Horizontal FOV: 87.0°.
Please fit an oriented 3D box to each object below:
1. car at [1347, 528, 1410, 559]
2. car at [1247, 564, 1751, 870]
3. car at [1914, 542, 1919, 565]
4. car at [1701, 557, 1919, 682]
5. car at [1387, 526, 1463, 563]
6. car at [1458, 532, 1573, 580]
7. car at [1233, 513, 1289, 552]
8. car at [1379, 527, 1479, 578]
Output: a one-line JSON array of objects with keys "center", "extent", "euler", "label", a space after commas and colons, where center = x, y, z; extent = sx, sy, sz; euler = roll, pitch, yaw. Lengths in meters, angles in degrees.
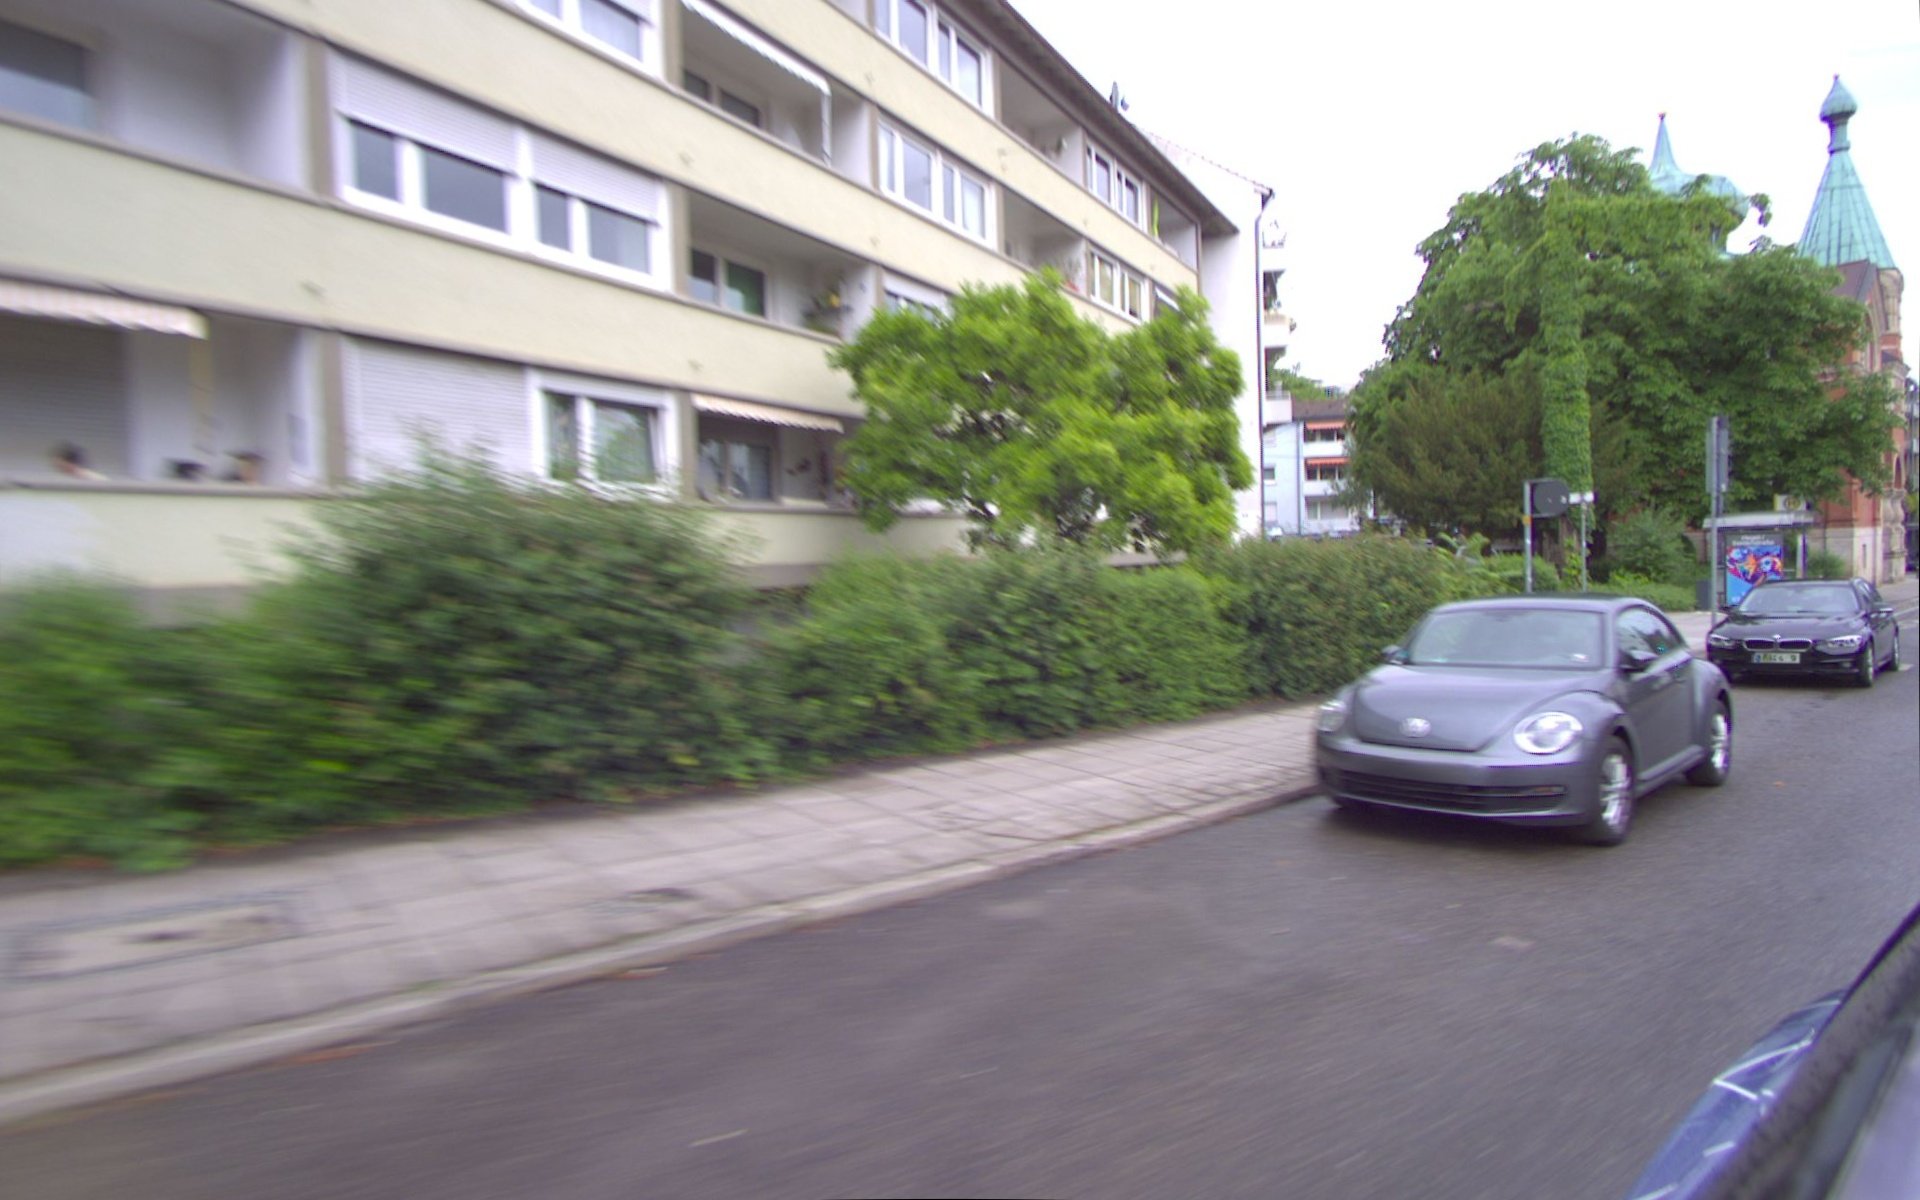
[{"center": [21.610, -2.877, 52.397], "extent": [1.711, 1.462, 3.836], "euler": [-2, 2, 2], "label": "car"}, {"center": [4.058, 0.554, 7.295], "extent": [4.137, 1.482, 1.942], "euler": [-3, 2, -43], "label": "car"}, {"center": [68.203, -3.279, 70.621], "extent": [4.373, 1.520, 1.858], "euler": [-5, 7, -40], "label": "car"}, {"center": [12.608, 0.183, 14.886], "extent": [4.567, 1.505, 1.860], "euler": [-3, 2, -42], "label": "car"}, {"center": [21.780, -2.578, 47.540], "extent": [1.808, 1.583, 3.995], "euler": [-2, 2, 2], "label": "car"}, {"center": [20.446, -1.617, 37.478], "extent": [1.807, 1.577, 4.386], "euler": [-2, 2, 1], "label": "car"}, {"center": [16.997, -3.787, 57.353], "extent": [1.962, 2.001, 4.001], "euler": [-3, 2, 1], "label": "car"}, {"center": [17.272, -1.749, 37.468], "extent": [1.808, 1.716, 4.201], "euler": [-2, 2, 2], "label": "car"}]
